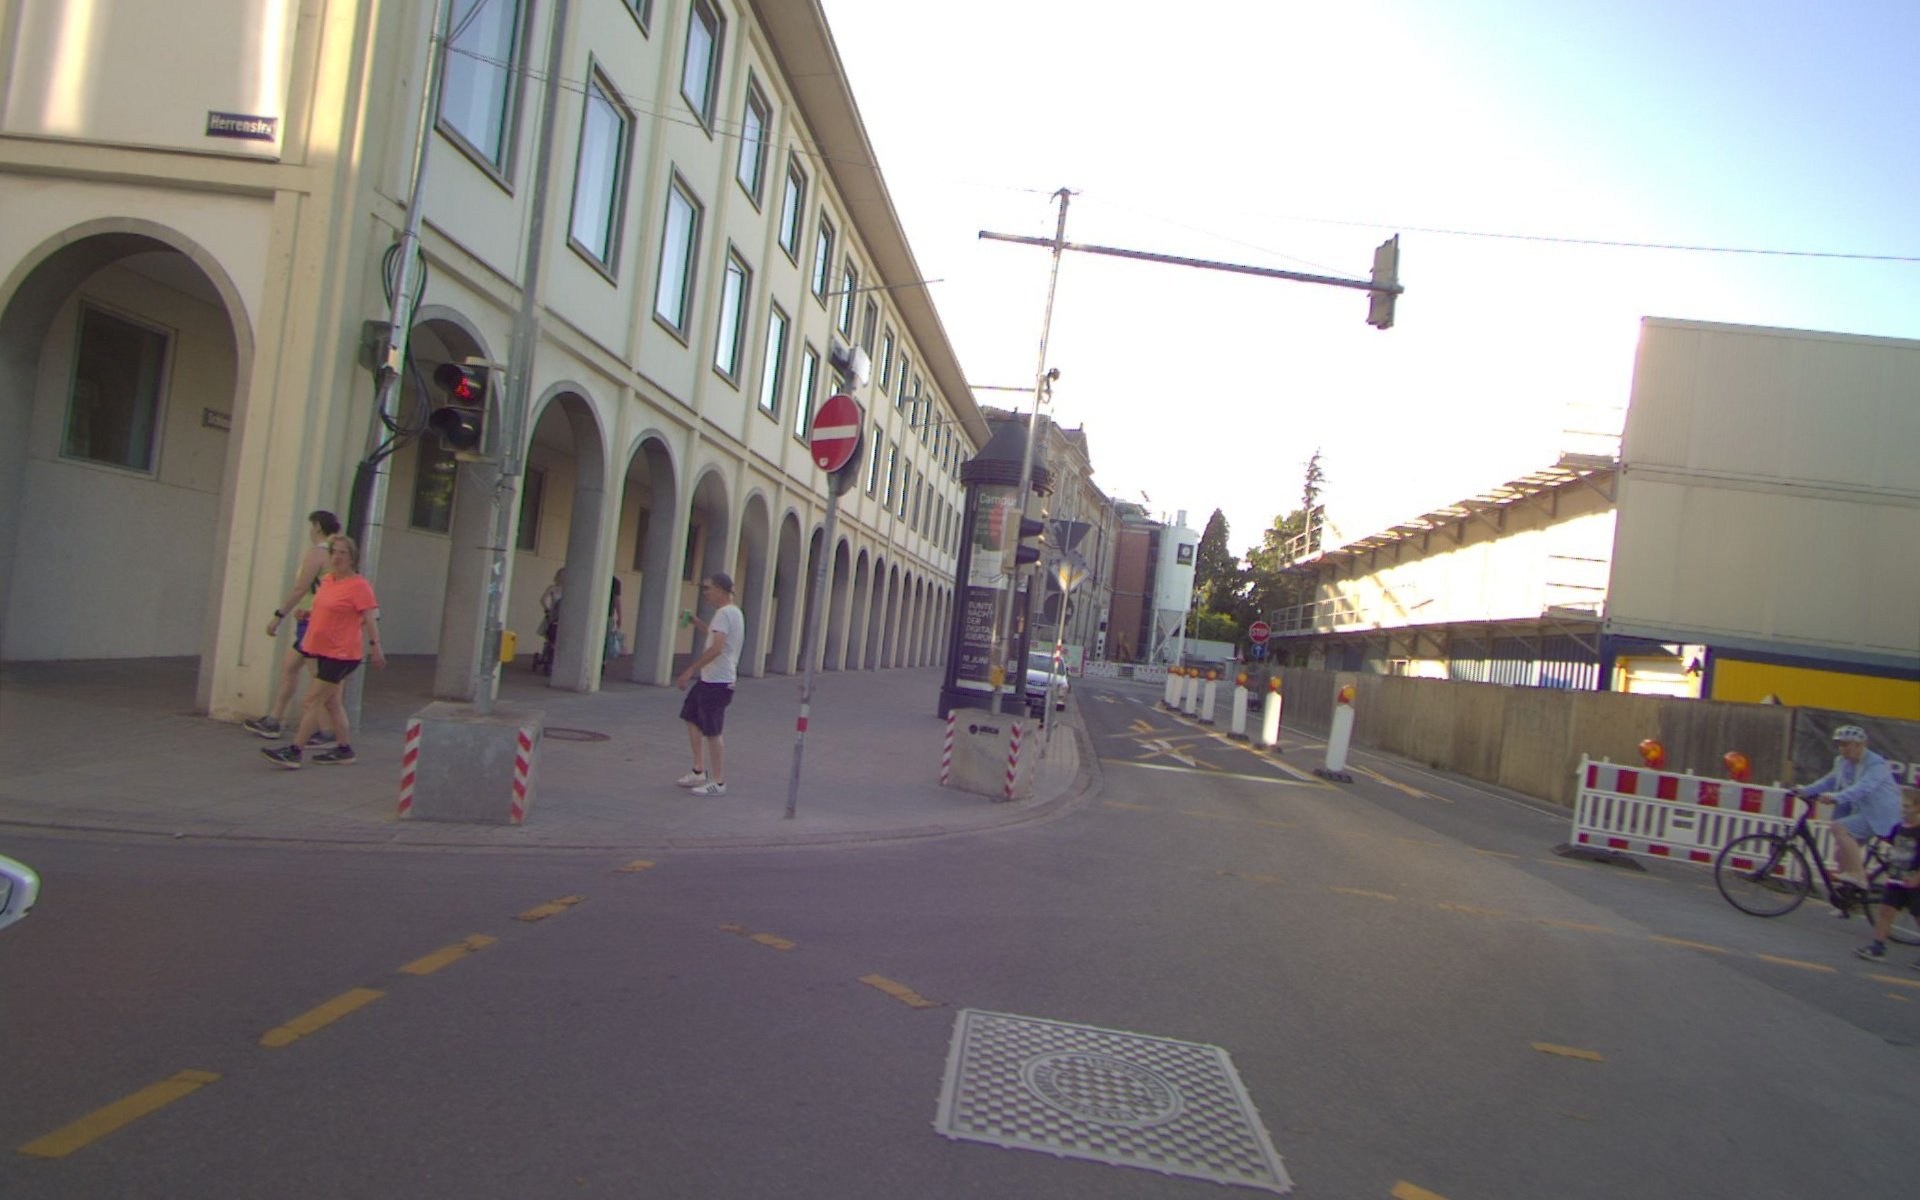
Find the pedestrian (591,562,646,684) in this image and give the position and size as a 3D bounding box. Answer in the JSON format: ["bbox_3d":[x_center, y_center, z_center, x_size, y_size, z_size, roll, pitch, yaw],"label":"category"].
[{"bbox_3d":[-5.520,0.362,16.226,0.633,1.864,0.723,6,2,-21],"label":"pedestrian"}]

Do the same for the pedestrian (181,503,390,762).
[{"bbox_3d":[-4.998,0.229,7.497,0.950,1.732,0.675,7,2,4],"label":"pedestrian"}]

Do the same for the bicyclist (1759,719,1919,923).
[{"bbox_3d":[7.518,1.853,8.633,0.691,1.534,0.687,7,-1,16],"label":"bicyclist"}]

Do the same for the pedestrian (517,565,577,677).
[{"bbox_3d":[-6.449,0.312,15.733,0.610,1.645,0.724,7,2,-15],"label":"pedestrian"}]

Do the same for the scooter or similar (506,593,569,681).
[{"bbox_3d":[-6.251,0.535,14.922,0.610,1.173,0.954,7,2,-15],"label":"scooter or similar"}]

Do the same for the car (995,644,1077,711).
[{"bbox_3d":[2.234,2.209,28.589,1.894,1.482,4.008,8,-3,8],"label":"car"}]

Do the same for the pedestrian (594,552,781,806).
[{"bbox_3d":[-2.103,0.600,7.887,0.959,1.748,0.799,9,-1,4],"label":"pedestrian"}]

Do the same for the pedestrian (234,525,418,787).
[{"bbox_3d":[-4.343,0.367,6.928,0.713,1.645,0.619,7,2,4],"label":"pedestrian"}]

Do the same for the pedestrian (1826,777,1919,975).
[{"bbox_3d":[7.049,2.057,7.473,0.608,1.315,0.494,9,0,7],"label":"pedestrian"}]

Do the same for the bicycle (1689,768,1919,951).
[{"bbox_3d":[7.512,2.219,8.559,1.961,1.215,0.477,7,-1,18],"label":"bicycle"}]
